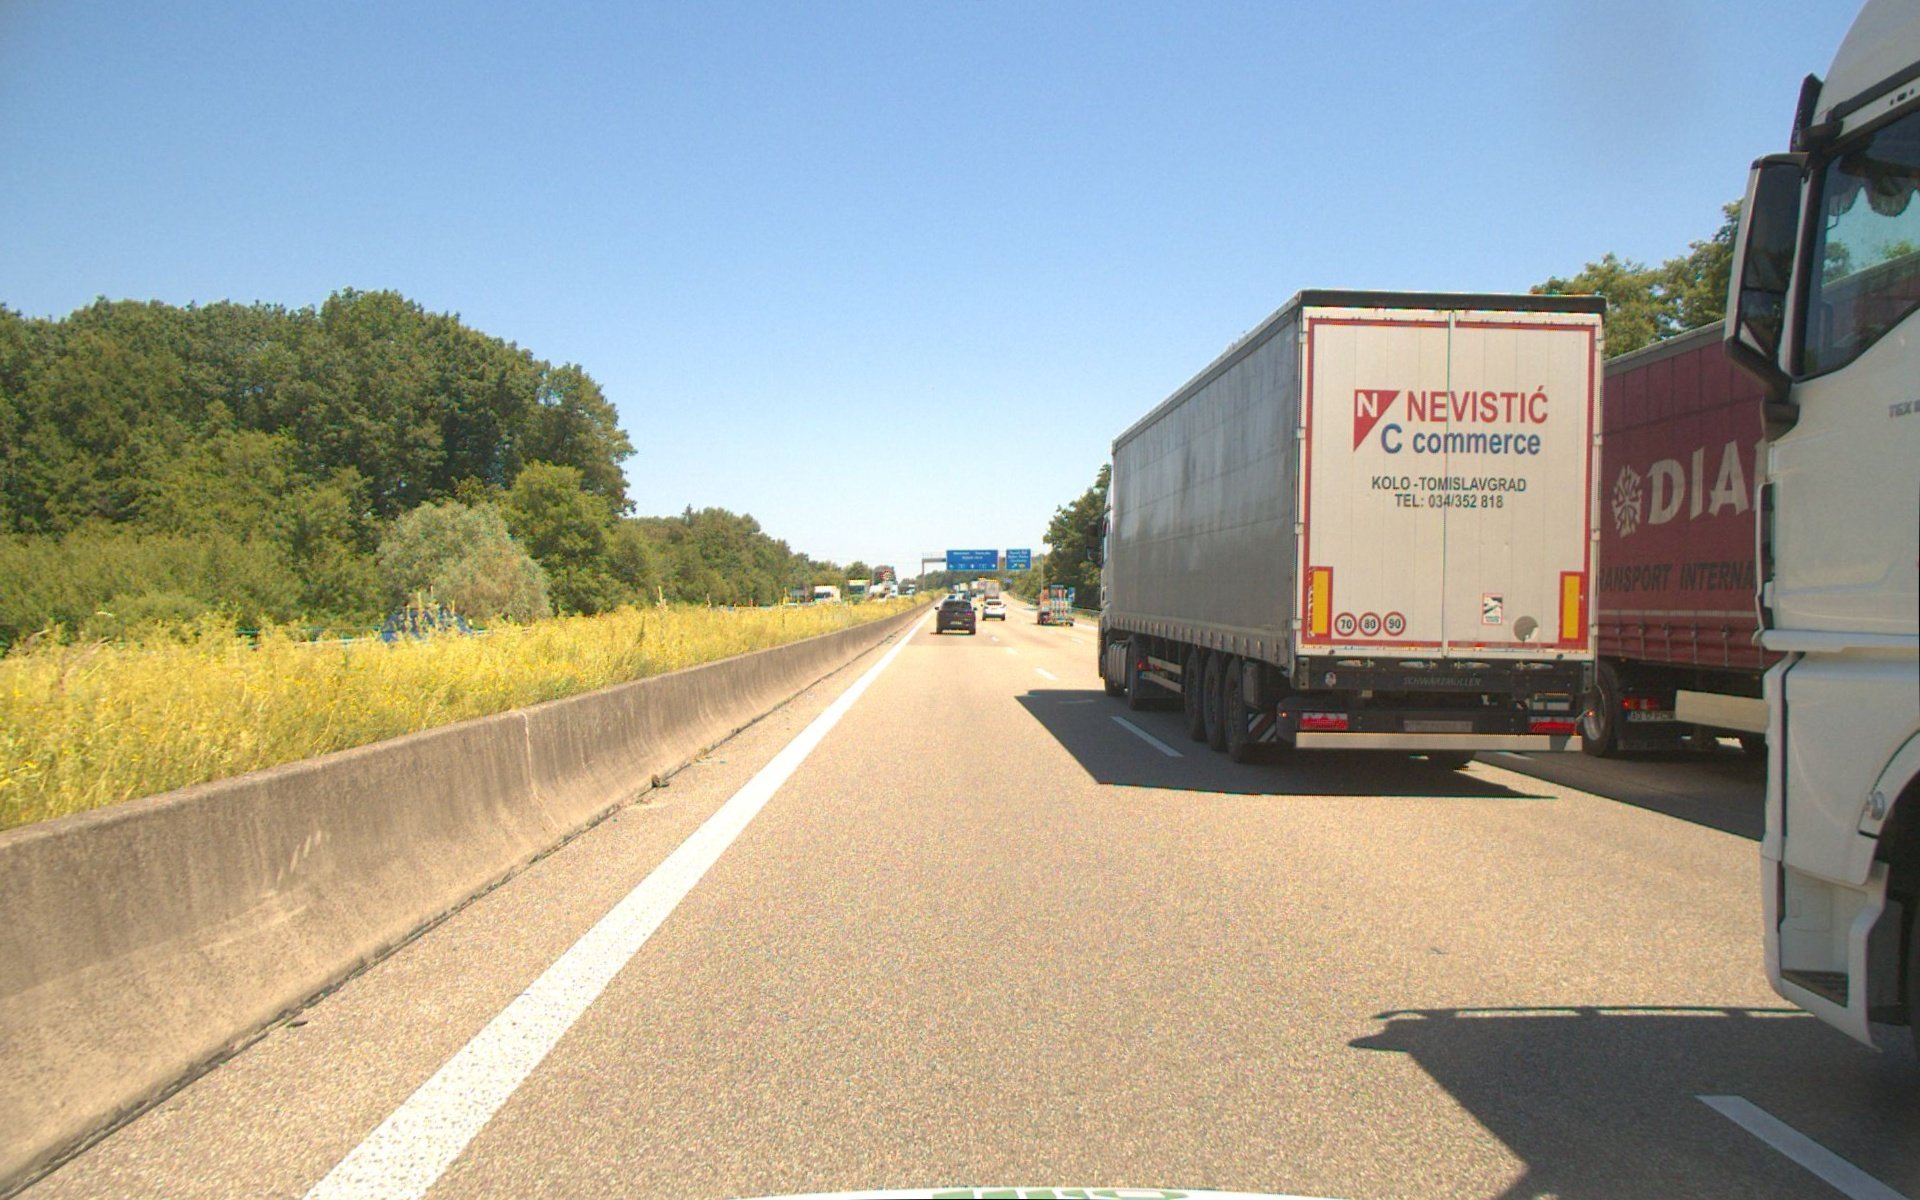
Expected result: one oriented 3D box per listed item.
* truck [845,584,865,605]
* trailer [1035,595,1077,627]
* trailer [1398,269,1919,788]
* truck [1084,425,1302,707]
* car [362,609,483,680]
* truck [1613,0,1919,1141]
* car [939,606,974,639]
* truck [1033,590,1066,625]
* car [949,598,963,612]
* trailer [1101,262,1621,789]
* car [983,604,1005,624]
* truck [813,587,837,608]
[{"bbox_3d":[-15.289,-0.833,240.714,2.553,3.061,6.971,0,0,-1],"label":"truck"},{"bbox_3d":[6.513,0.735,112.956,2.372,2.049,6.032,0,0,-1],"label":"trailer"},{"bbox_3d":[7.686,-0.549,19.129,2.269,4.315,10.652,1,-1,-1],"label":"trailer"},{"bbox_3d":[3.716,-0.477,27.885,2.645,4.166,6.451,1,-1,-1],"label":"truck"},{"bbox_3d":[-13.943,1.113,43.173,1.786,1.682,4.170,-2,0,-1],"label":"car"},{"bbox_3d":[3.935,-0.605,3.319,2.743,4.077,6.019,0,0,-1],"label":"truck"},{"bbox_3d":[-0.186,1.130,82.993,1.626,1.576,3.781,1,-1,-2],"label":"car"},{"bbox_3d":[6.392,0.510,118.320,1.953,2.415,4.643,0,0,-1],"label":"truck"},{"bbox_3d":[-0.590,0.726,242.232,1.953,2.049,3.999,-1,0,-1],"label":"car"},{"bbox_3d":[3.813,-0.525,20.473,2.652,4.139,14.742,1,-1,-1],"label":"trailer"},{"bbox_3d":[2.755,1.130,134.833,1.704,1.512,3.999,0,0,-1],"label":"car"},{"bbox_3d":[-19.477,-0.380,238.572,2.632,2.993,10.485,0,0,0],"label":"truck"}]
